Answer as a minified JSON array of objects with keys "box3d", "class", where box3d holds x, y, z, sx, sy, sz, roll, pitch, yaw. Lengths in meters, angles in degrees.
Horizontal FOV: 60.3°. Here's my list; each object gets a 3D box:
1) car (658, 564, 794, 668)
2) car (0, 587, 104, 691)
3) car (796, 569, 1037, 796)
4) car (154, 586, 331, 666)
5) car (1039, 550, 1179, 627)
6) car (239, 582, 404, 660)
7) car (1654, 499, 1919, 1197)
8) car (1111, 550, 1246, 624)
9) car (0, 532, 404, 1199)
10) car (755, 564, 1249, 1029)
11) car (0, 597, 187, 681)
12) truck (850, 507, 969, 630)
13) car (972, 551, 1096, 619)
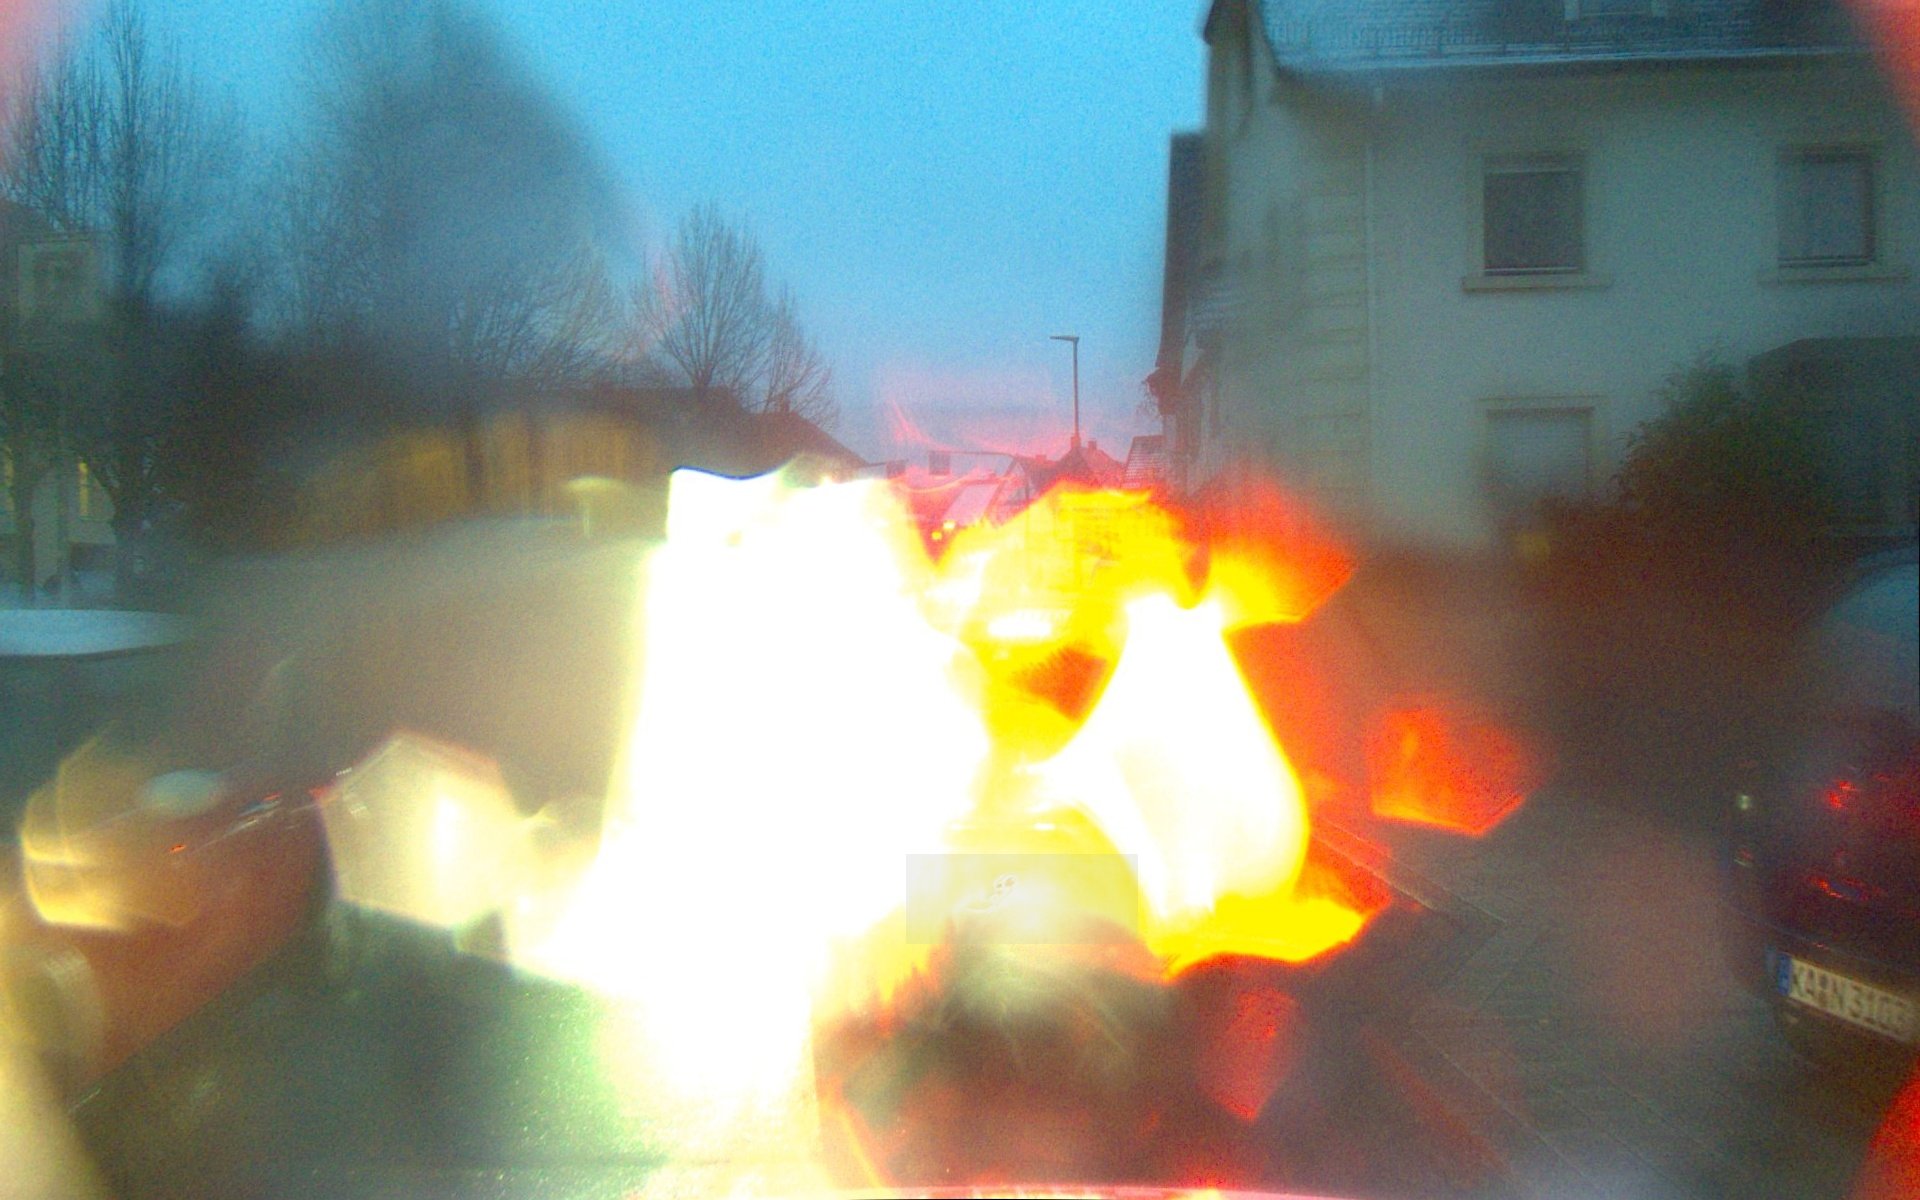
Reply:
[{"box3d":[-3.904,0.212,28.254,1.774,1.624,4.398,-1,1,-1],"class":"car"},{"box3d":[-19.841,0.768,33.950,3.903,2.023,1.820,0,1,19],"class":"car"},{"box3d":[-0.356,0.521,12.648,1.605,1.507,3.270,0,1,-3],"class":"car"},{"box3d":[-18.217,0.647,42.034,3.903,1.944,1.820,0,1,19],"class":"car"},{"box3d":[4.384,-0.344,48.690,4.010,2.200,1.915,0,1,6],"class":"car"},{"box3d":[-17.336,0.545,44.921,3.903,2.033,1.820,0,1,19],"class":"car"},{"box3d":[4.050,0.516,4.294,3.795,1.607,1.680,-2,0,-6],"class":"car"},{"box3d":[6.713,-0.402,51.012,4.010,2.189,1.915,0,1,6],"class":"car"},{"box3d":[-2.843,0.632,4.547,1.605,1.562,3.404,0,1,-3],"class":"car"},{"box3d":[0.117,0.621,7.058,1.604,1.507,3.378,0,0,-1],"class":"car"},{"box3d":[-19.431,0.844,36.754,3.903,1.760,1.820,0,1,19],"class":"car"},{"box3d":[-1.580,-0.870,47.034,2.956,3.183,7.992,0,1,-5],"class":"truck"},{"box3d":[2.492,-0.495,55.283,4.010,2.189,1.915,0,1,6],"class":"car"}]
